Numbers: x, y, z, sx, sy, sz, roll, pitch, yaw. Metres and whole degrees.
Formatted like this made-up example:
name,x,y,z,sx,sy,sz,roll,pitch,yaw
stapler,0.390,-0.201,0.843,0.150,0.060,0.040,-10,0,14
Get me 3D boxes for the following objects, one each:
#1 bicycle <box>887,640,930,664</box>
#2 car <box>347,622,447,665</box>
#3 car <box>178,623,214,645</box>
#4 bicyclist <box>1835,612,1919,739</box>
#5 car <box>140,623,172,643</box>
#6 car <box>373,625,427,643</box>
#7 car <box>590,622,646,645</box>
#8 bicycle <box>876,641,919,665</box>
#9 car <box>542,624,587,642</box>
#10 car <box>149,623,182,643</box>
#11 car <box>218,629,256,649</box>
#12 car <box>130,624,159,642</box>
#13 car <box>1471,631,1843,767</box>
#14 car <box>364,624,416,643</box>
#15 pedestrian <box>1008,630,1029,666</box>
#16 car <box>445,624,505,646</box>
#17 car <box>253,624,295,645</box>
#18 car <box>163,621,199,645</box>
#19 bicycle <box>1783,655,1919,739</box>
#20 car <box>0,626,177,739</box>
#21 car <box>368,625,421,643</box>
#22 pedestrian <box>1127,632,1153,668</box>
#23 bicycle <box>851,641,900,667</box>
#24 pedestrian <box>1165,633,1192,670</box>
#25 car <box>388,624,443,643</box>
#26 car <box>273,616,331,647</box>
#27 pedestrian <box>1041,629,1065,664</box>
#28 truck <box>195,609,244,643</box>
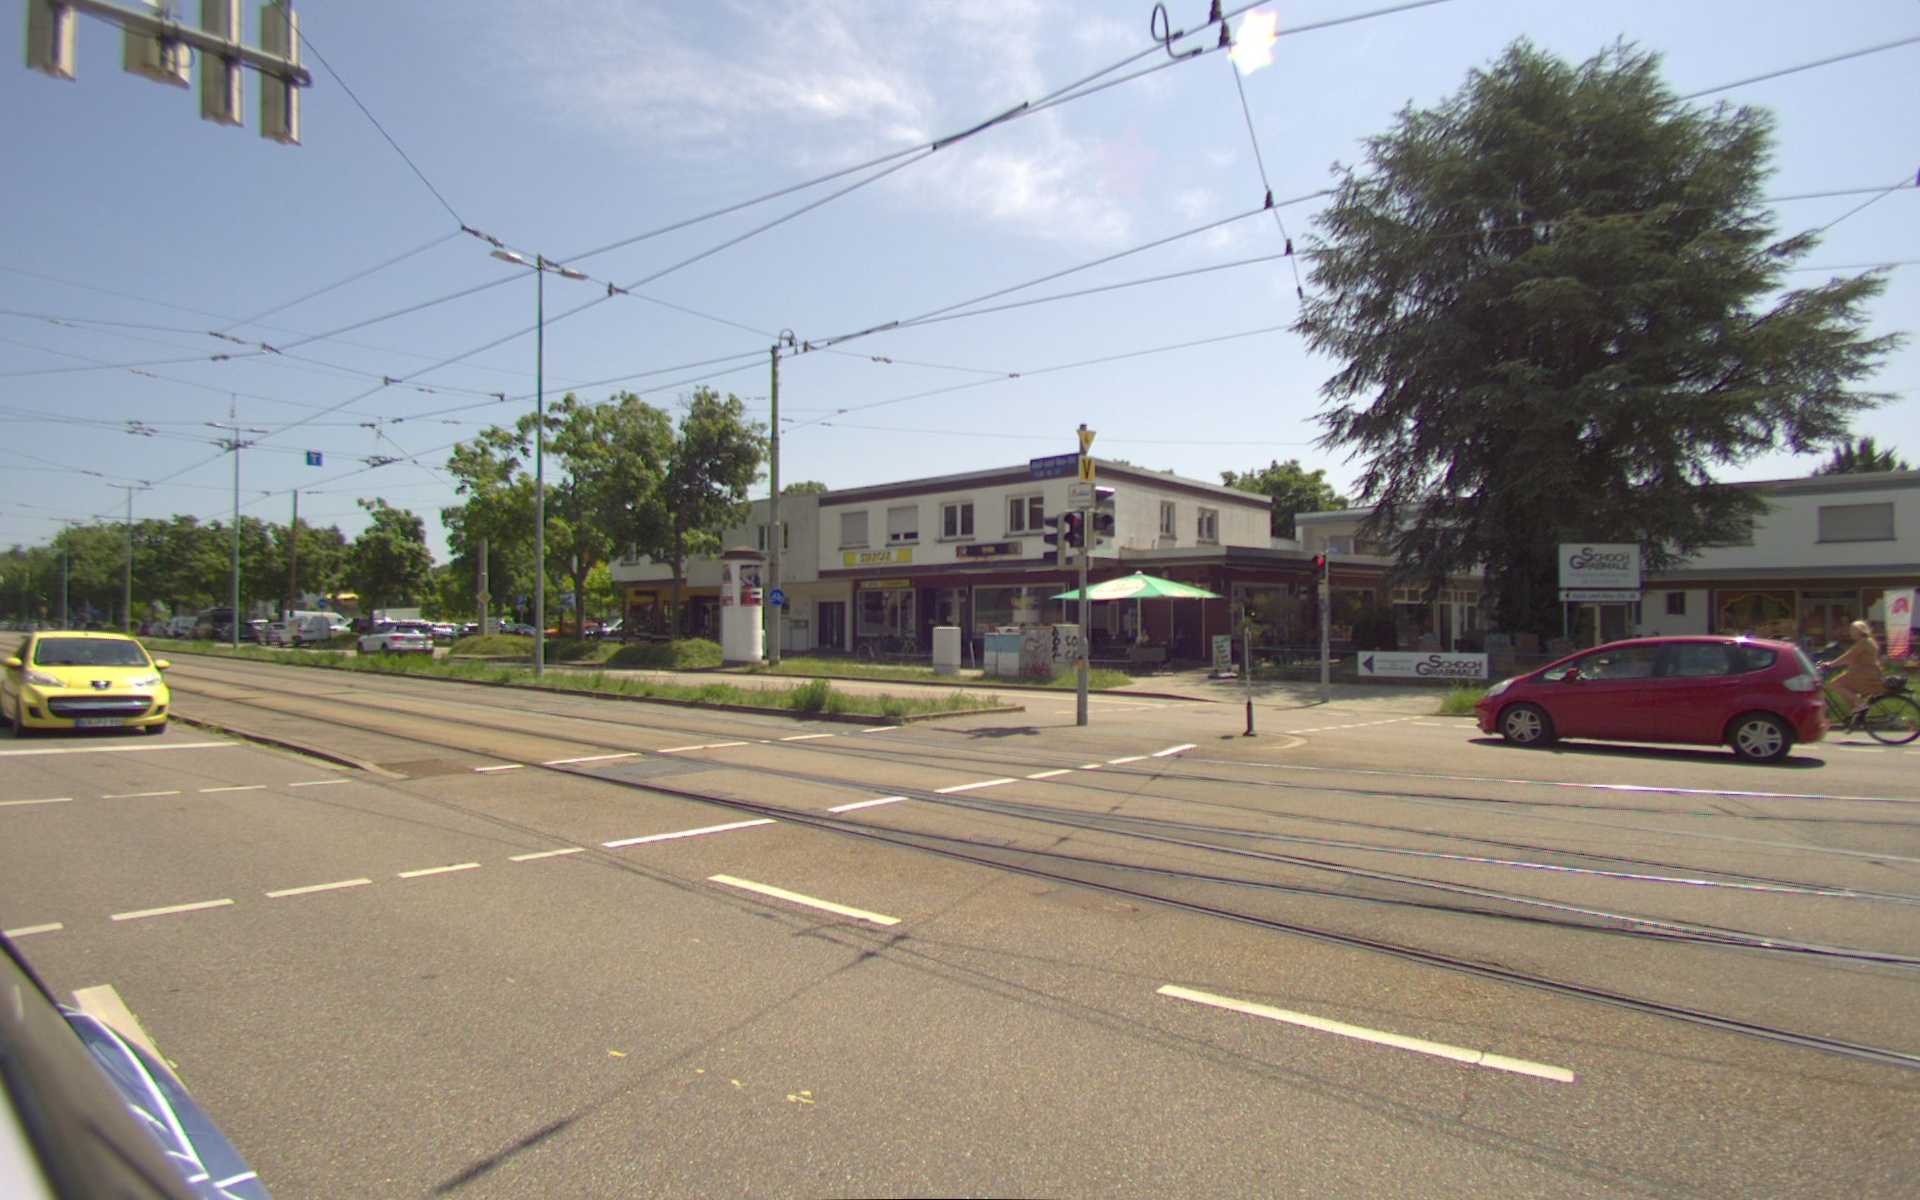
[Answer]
name,x,y,z,sx,sy,sz,roll,pitch,yaw
bicycle,-1.982,1.959,38.457,1.787,0.854,0.522,-1,0,43
car,-22.250,1.700,39.961,4.134,1.564,1.974,-1,-4,39
car,-64.091,2.814,84.912,3.868,1.807,1.659,-1,-2,42
bicyclist,13.434,1.076,14.625,1.137,1.779,0.687,-3,-3,42
car,-75.980,3.093,95.608,4.201,1.807,1.659,-2,-3,42
car,-43.969,2.667,79.511,1.601,1.404,3.373,-1,-2,37
car,-27.697,2.718,82.092,1.812,1.798,3.947,-1,-2,39
bicycle,-2.352,1.975,38.048,1.787,0.854,0.522,-1,0,43
car,-34.901,2.911,89.358,1.505,1.573,3.312,-1,-2,39
car,-72.338,3.002,92.101,4.201,1.807,1.659,-1,-2,42
car,-53.551,2.859,74.968,3.671,1.397,1.652,-1,-2,44
car,-80.776,3.265,100.222,3.822,1.716,1.659,-1,-2,42
car,8.971,1.164,13.217,3.828,1.495,1.607,-1,-2,42
car,-47.282,2.767,84.017,1.601,1.517,3.373,-1,-2,37
pedestrian,2.054,1.660,35.396,0.491,1.248,0.568,-1,-2,42
car,-34.258,2.500,71.548,1.791,1.502,3.373,-1,-2,37
car,-46.241,2.304,68.220,3.570,1.397,1.652,-1,-2,44
car,-68.147,2.868,88.464,4.508,1.989,1.659,-1,-3,42
bicycle,13.271,1.390,14.751,1.931,1.157,0.687,-3,-3,42
car,-12.817,1.164,14.692,3.654,1.432,1.598,-3,-6,42
car,-45.624,2.715,81.741,1.601,1.404,3.373,-1,-2,37
pedestrian,5.782,1.610,32.486,0.674,1.136,0.511,-1,-2,43
bicycle,-3.122,1.968,37.191,1.959,0.854,0.595,-1,0,43
pedestrian,6.791,1.597,31.461,0.674,1.136,0.511,-1,-2,43
car,-42.023,2.567,78.080,1.601,1.404,3.373,-1,-2,37
car,-41.517,1.968,63.819,4.661,1.898,1.972,-1,-2,43
pedestrian,3.303,1.656,35.926,0.674,1.218,0.511,-1,-2,43
truck,-57.968,2.035,79.179,4.929,2.561,2.195,-1,-2,43
